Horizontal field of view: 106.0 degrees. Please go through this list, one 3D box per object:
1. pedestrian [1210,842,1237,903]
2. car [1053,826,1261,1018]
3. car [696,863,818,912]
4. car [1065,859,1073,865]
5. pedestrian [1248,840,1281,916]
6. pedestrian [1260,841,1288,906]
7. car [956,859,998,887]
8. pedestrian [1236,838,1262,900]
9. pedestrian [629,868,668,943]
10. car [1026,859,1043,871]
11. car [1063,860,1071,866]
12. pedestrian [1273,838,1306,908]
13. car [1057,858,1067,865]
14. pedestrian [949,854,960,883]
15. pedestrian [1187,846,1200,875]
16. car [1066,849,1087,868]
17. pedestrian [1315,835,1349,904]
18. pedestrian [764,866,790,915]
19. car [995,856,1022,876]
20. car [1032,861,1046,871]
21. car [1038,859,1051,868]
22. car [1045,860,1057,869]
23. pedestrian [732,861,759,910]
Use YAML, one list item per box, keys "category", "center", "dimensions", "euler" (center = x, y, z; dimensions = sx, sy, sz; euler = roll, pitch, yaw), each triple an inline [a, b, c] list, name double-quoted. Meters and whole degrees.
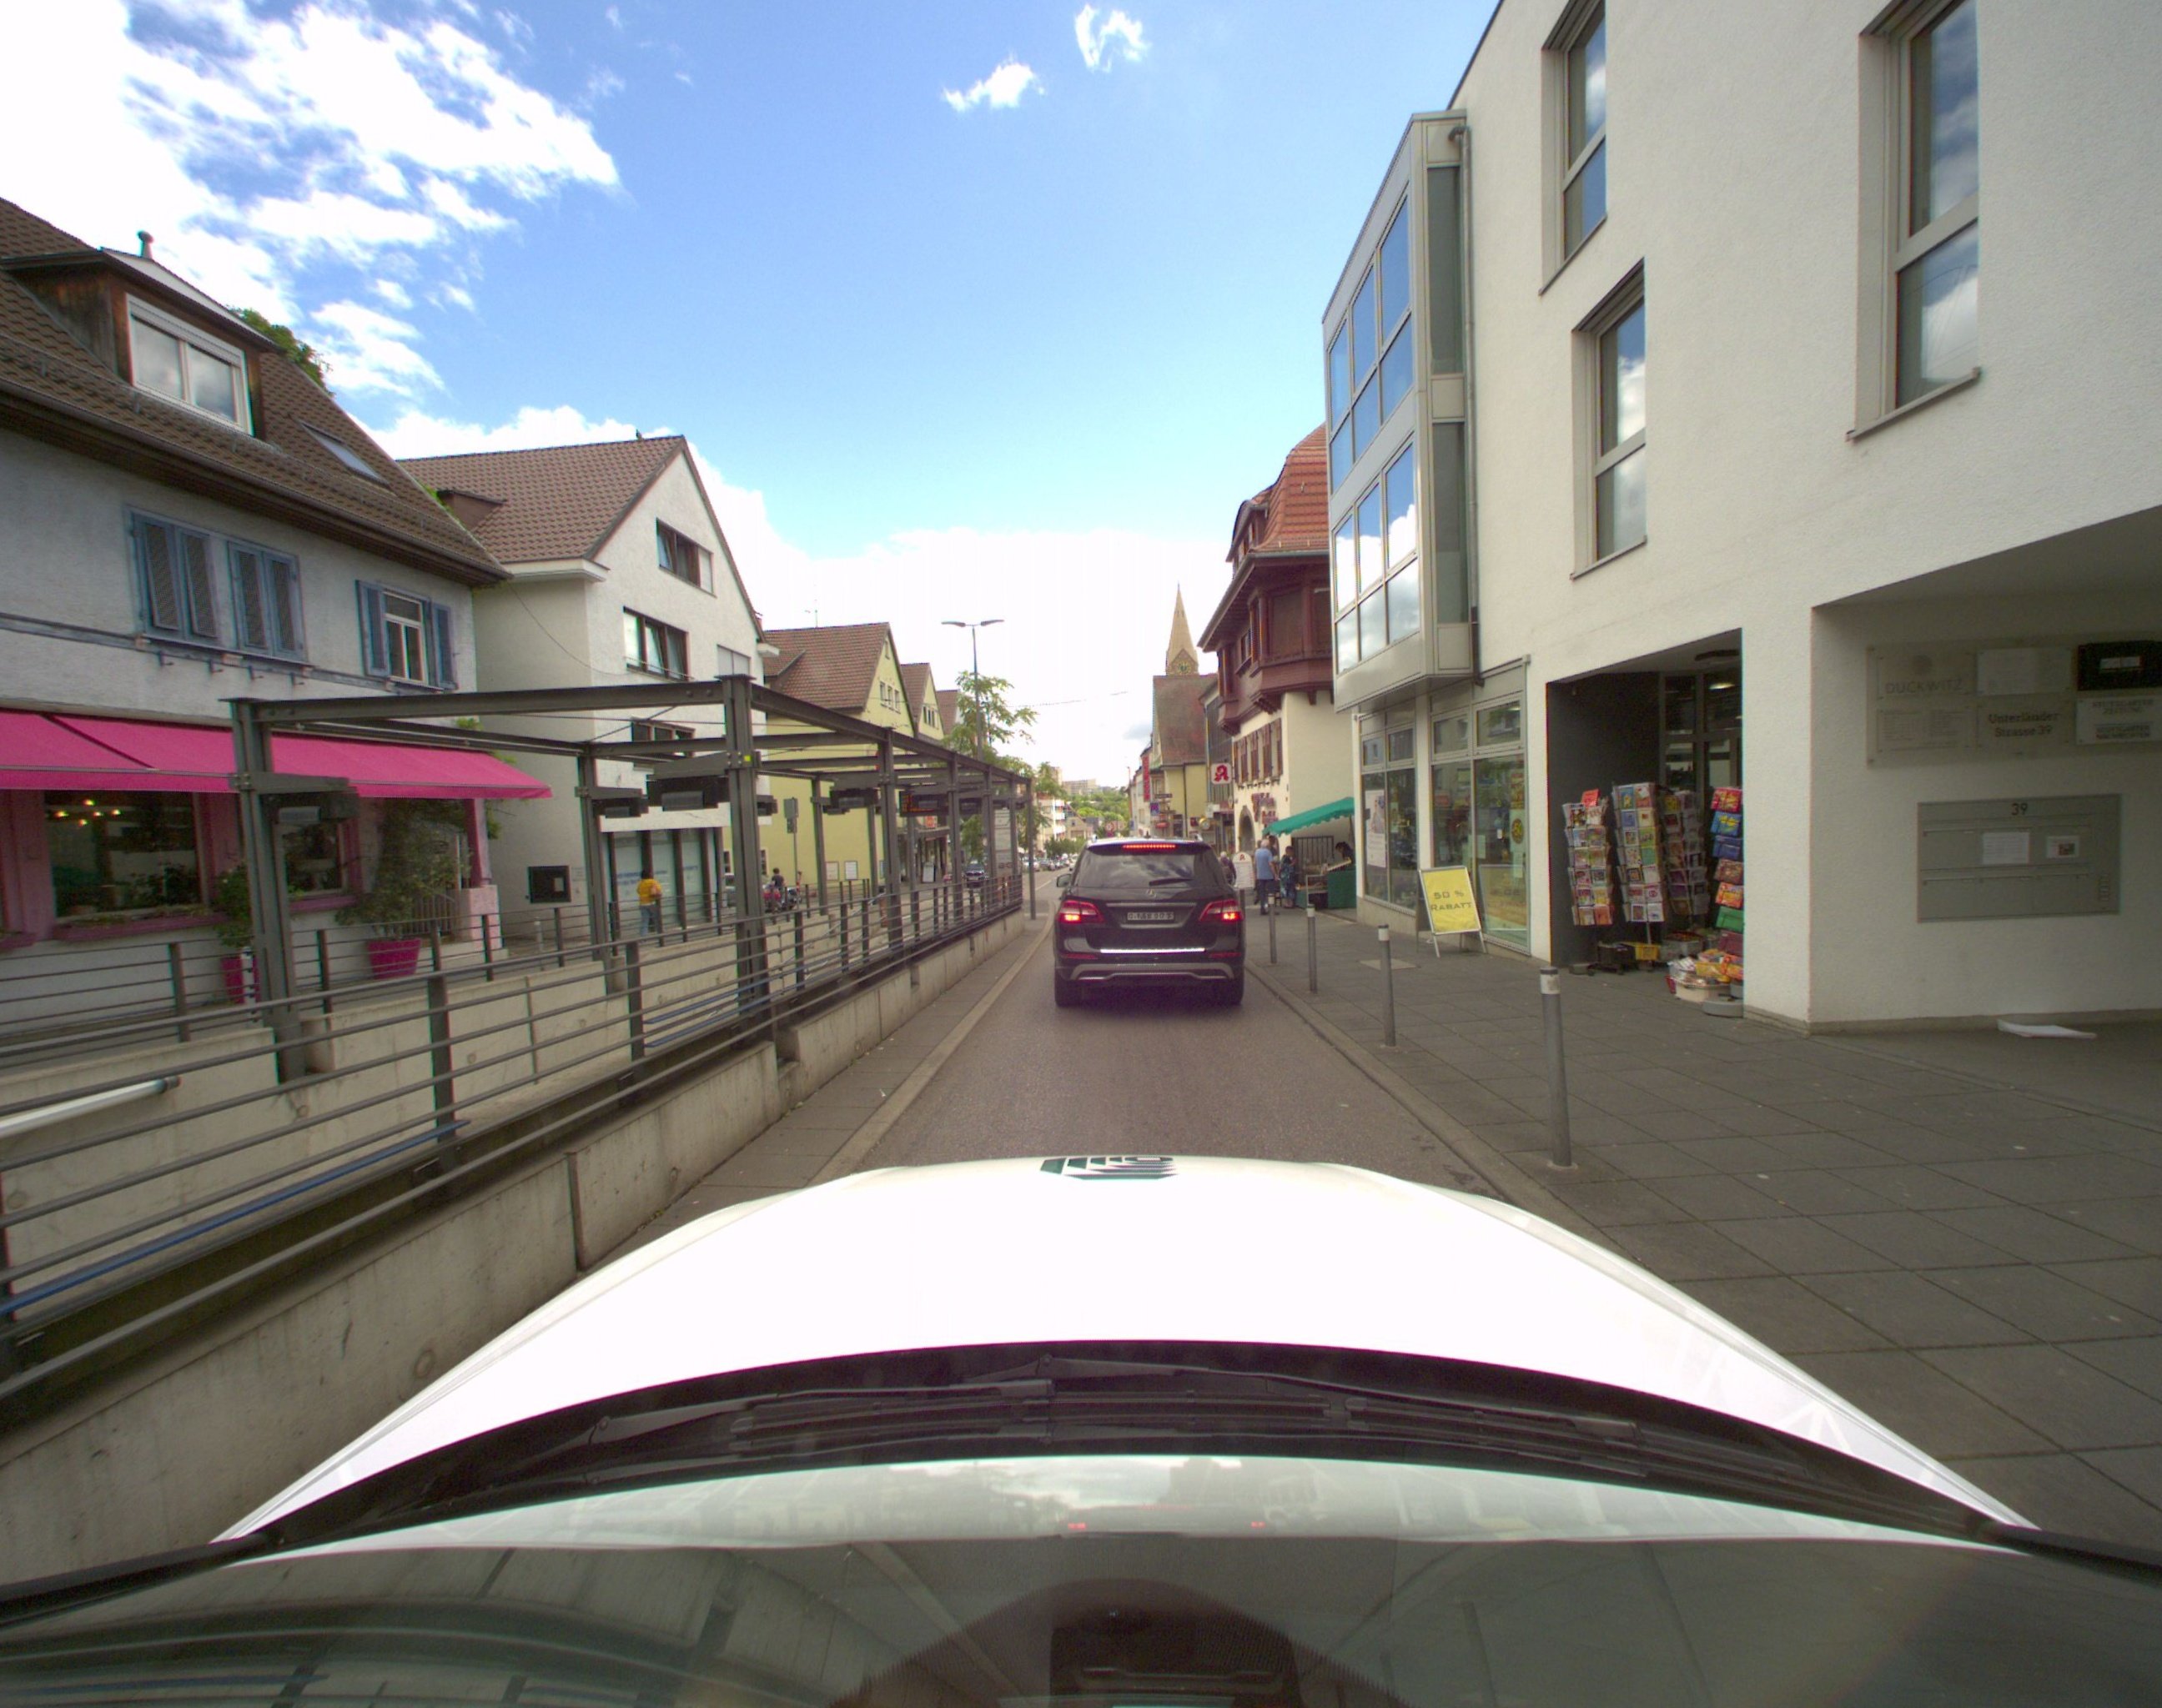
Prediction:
- category: "pedestrian"
  center: [3.964, 0.512, 22.727]
  dimensions: [0.620, 1.689, 0.565]
  euler: [0, 0, -5]
- category: "car"
  center: [0.712, 0.620, 9.459]
  dimensions: [1.894, 1.747, 4.000]
  euler: [0, 0, 0]
- category: "car"
  center: [-12.772, 1.277, 32.187]
  dimensions: [4.149, 1.731, 1.842]
  euler: [1, 0, 15]
- category: "car"
  center: [-2.467, 1.582, 164.767]
  dimensions: [1.383, 1.070, 3.115]
  euler: [-3, 0, 2]
- category: "pedestrian"
  center: [4.307, 0.551, 19.123]
  dimensions: [0.541, 1.726, 0.527]
  euler: [-3, 0, -5]
- category: "pedestrian"
  center: [5.049, 0.500, 21.304]
  dimensions: [0.572, 1.689, 0.565]
  euler: [0, 0, -4]
- category: "car"
  center: [-5.814, 1.034, 45.881]
  dimensions: [1.683, 1.490, 3.981]
  euler: [0, 0, 2]
- category: "pedestrian"
  center: [4.958, 0.431, 24.095]
  dimensions: [0.637, 1.809, 0.685]
  euler: [0, 0, 1]
- category: "pedestrian"
  center: [-9.933, 1.162, 18.724]
  dimensions: [0.576, 1.689, 0.577]
  euler: [0, 0, 1]
- category: "car"
  center: [-4.894, 1.138, 85.784]
  dimensions: [1.383, 1.070, 3.115]
  euler: [-3, 0, 2]
- category: "car"
  center: [-2.719, 1.671, 159.480]
  dimensions: [1.383, 1.070, 3.115]
  euler: [-3, 0, 2]
- category: "pedestrian"
  center: [5.187, 0.464, 20.286]
  dimensions: [0.572, 1.689, 0.565]
  euler: [-3, 0, -4]
- category: "car"
  center: [-3.026, 1.275, 132.191]
  dimensions: [1.383, 1.070, 3.115]
  euler: [-3, 0, 2]
- category: "pedestrian"
  center: [-7.600, 0.864, 48.979]
  dimensions: [0.511, 1.689, 0.542]
  euler: [0, 0, 1]
- category: "pedestrian"
  center: [6.732, 0.383, 48.698]
  dimensions: [0.604, 1.688, 0.725]
  euler: [-3, 0, 1]
- category: "car"
  center: [-0.377, 0.391, 74.668]
  dimensions: [1.764, 1.713, 4.001]
  euler: [0, 0, 2]
- category: "pedestrian"
  center: [6.283, 0.380, 20.398]
  dimensions: [0.572, 1.689, 0.565]
  euler: [-3, 0, -4]
- category: "pedestrian"
  center: [-10.651, 1.257, 28.566]
  dimensions: [0.623, 1.689, 0.679]
  euler: [0, 0, 1]
- category: "car"
  center: [-5.586, 0.886, 63.135]
  dimensions: [1.654, 1.490, 3.750]
  euler: [0, 0, 2]
- category: "car"
  center: [-4.983, 1.392, 97.145]
  dimensions: [1.383, 1.070, 3.115]
  euler: [-3, 0, 2]
- category: "car"
  center: [-4.612, 1.164, 102.987]
  dimensions: [1.383, 1.070, 3.115]
  euler: [-3, 0, 2]
- category: "car"
  center: [-4.089, 1.411, 110.974]
  dimensions: [1.383, 1.070, 3.115]
  euler: [-3, 0, 2]
- category: "pedestrian"
  center: [-11.692, 1.089, 28.385]
  dimensions: [0.650, 1.689, 0.730]
  euler: [0, 0, -1]
